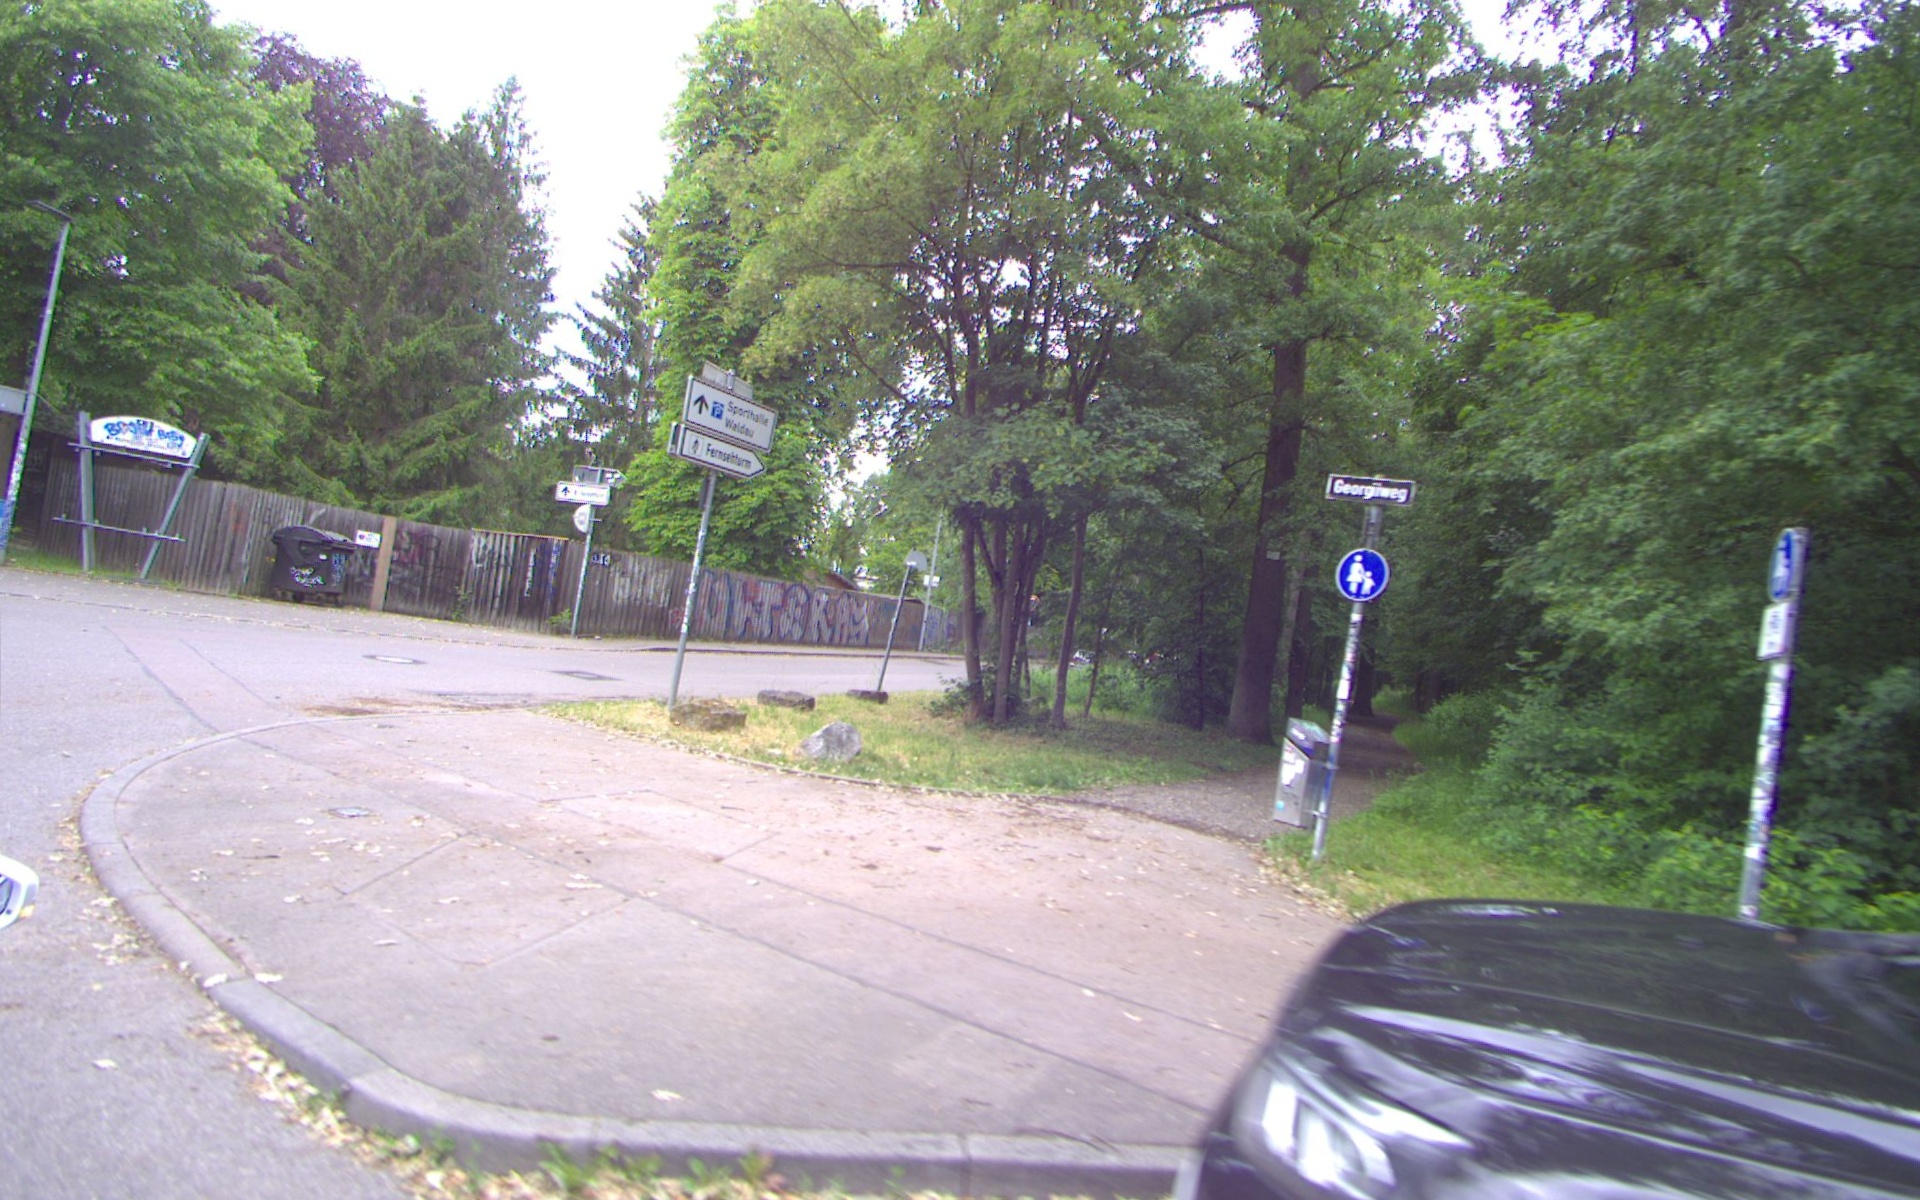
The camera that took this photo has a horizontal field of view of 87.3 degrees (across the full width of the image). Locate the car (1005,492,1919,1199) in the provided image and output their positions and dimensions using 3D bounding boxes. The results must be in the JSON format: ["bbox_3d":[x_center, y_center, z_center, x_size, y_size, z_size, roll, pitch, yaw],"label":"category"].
[{"bbox_3d":[2.347,1.013,1.071,4.299,1.652,1.741,8,-2,28],"label":"car"}]

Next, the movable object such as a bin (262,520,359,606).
[{"bbox_3d":[-12.446,-0.678,19.324,1.063,1.459,1.282,8,-2,-15],"label":"movable object such as a bin"}]

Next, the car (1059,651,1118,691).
[{"bbox_3d":[6.423,3.571,49.930,1.879,1.524,4.005,12,-1,19],"label":"car"}]
